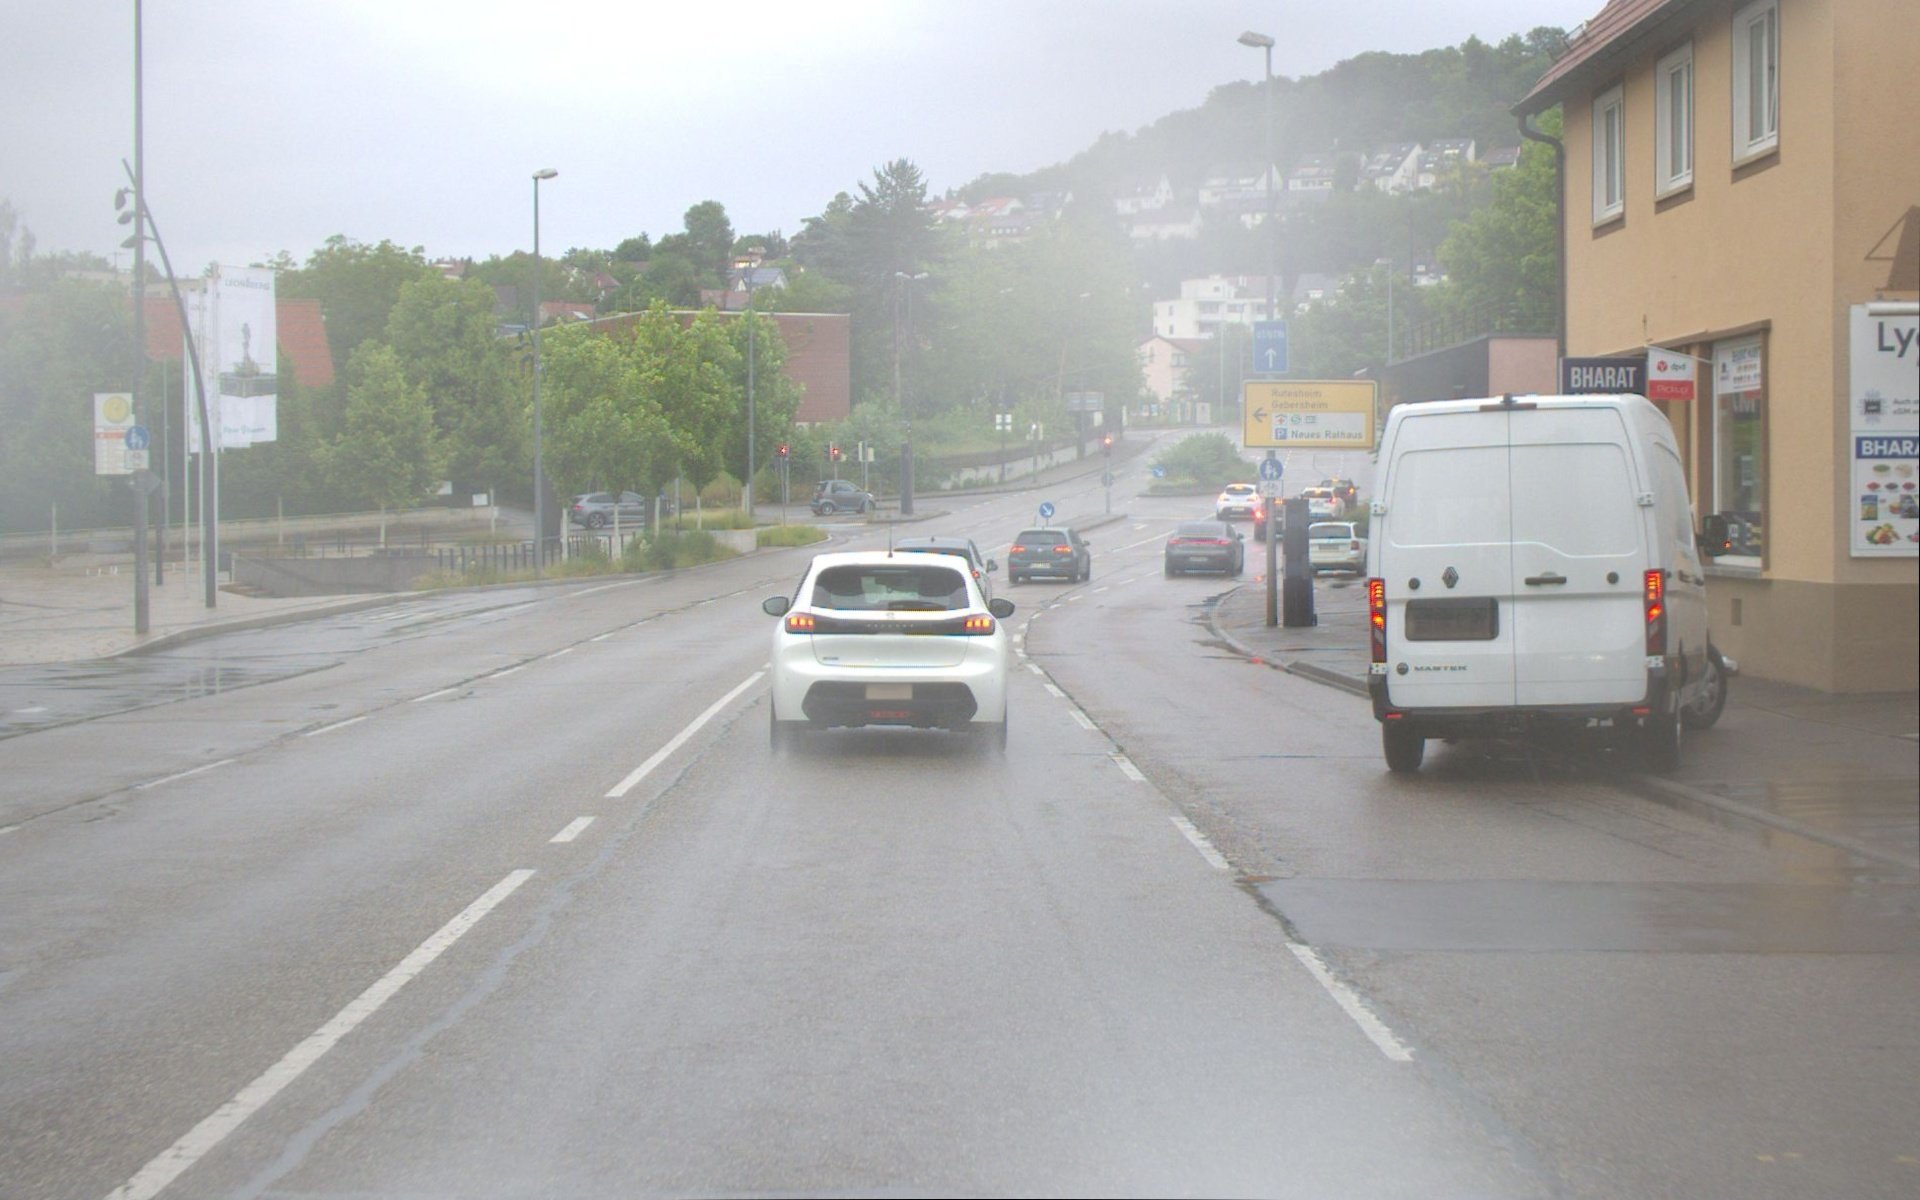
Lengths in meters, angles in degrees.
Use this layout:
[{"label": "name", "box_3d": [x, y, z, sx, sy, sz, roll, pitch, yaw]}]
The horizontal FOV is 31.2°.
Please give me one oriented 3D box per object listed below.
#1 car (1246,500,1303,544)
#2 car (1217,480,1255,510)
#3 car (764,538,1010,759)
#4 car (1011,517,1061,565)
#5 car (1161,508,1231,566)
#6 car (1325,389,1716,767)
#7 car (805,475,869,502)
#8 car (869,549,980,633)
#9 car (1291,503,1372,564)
[{"label": "car", "box_3d": [11.412, -2.806, 124.866, 1.647, 1.480, 3.366, -1, 0, -1]}, {"label": "car", "box_3d": [11.170, -4.237, 139.204, 1.385, 1.123, 2.610, -1, 0, 2]}, {"label": "car", "box_3d": [-0.540, 0.317, 25.785, 1.691, 1.514, 3.933, -1, 1, -1]}, {"label": "car", "box_3d": [1.948, -1.497, 87.774, 1.213, 1.152, 2.270, -1, 0, 3]}, {"label": "car", "box_3d": [6.480, -1.745, 94.612, 1.734, 1.383, 3.353, 1, 4, 1]}, {"label": "car", "box_3d": [4.276, -0.131, 25.207, 2.292, 2.374, 6.621, -1, 0, 14]}, {"label": "car", "box_3d": [-5.426, -4.904, 151.472, 2.418, 1.153, 1.371, -1, 0, -28]}, {"label": "car", "box_3d": [-0.567, -0.168, 56.457, 1.741, 1.291, 3.334, -1, 1, 0]}, {"label": "car", "box_3d": [10.020, -1.813, 92.529, 1.731, 1.492, 4.478, -1, 2, 12]}]
